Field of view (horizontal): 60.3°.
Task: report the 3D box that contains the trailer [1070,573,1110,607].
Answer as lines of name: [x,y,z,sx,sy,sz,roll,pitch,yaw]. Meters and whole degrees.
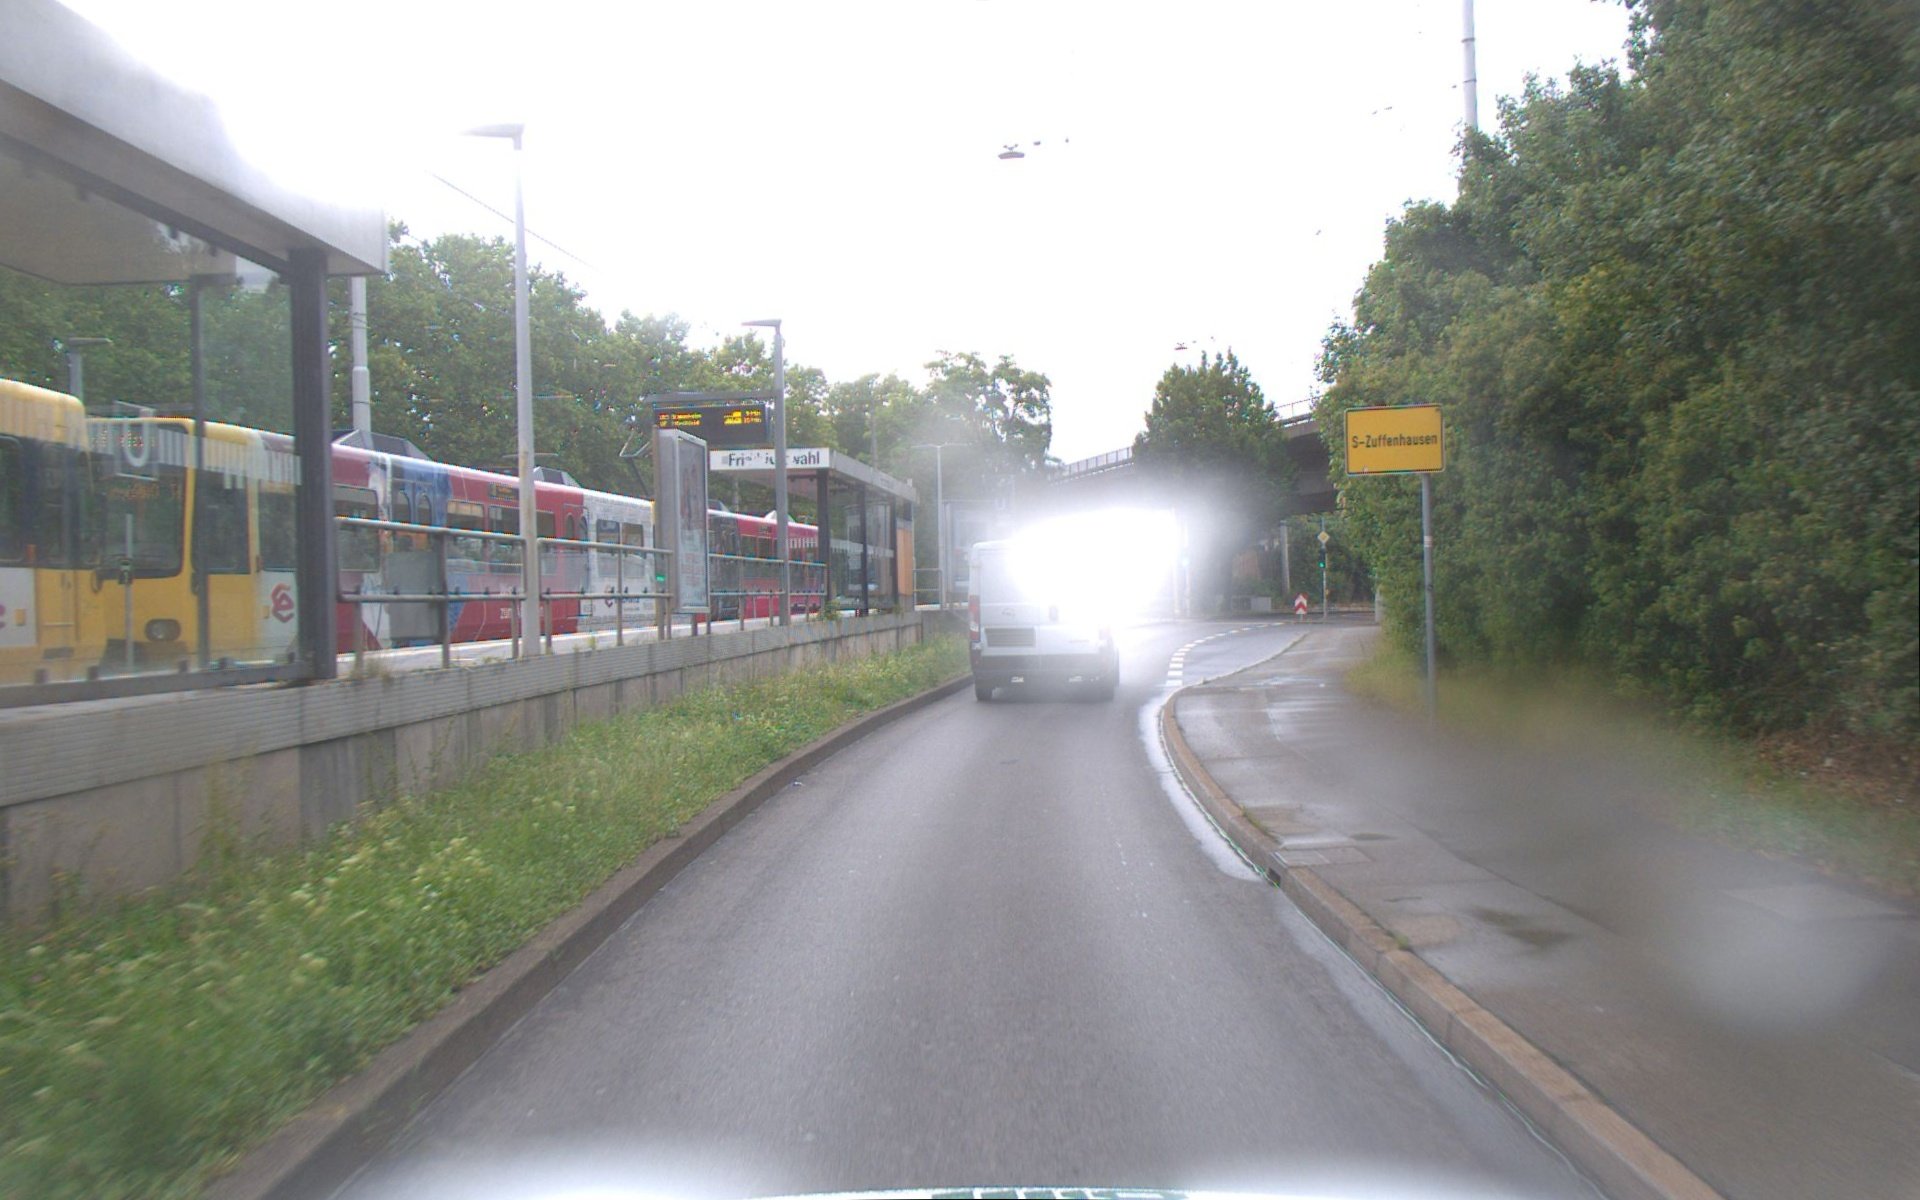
trailer: [10.721,-0.844,136.827,1.961,2.773,4.105,0,0,-16]

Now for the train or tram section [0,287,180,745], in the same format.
train or tram section: [-10.211,-0.751,7.890,2.808,4.023,19.338,1,0,3]

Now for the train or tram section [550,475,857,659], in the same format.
train or tram section: [-6.279,-0.725,46.169,2.807,4.030,19.346,1,0,8]

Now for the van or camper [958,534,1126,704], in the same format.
van or camper: [1.348,0.251,24.924,2.152,2.292,4.687,1,0,7]

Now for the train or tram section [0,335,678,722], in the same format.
train or tram section: [-8.665,-0.756,27.038,2.807,4.040,19.344,1,0,6]
